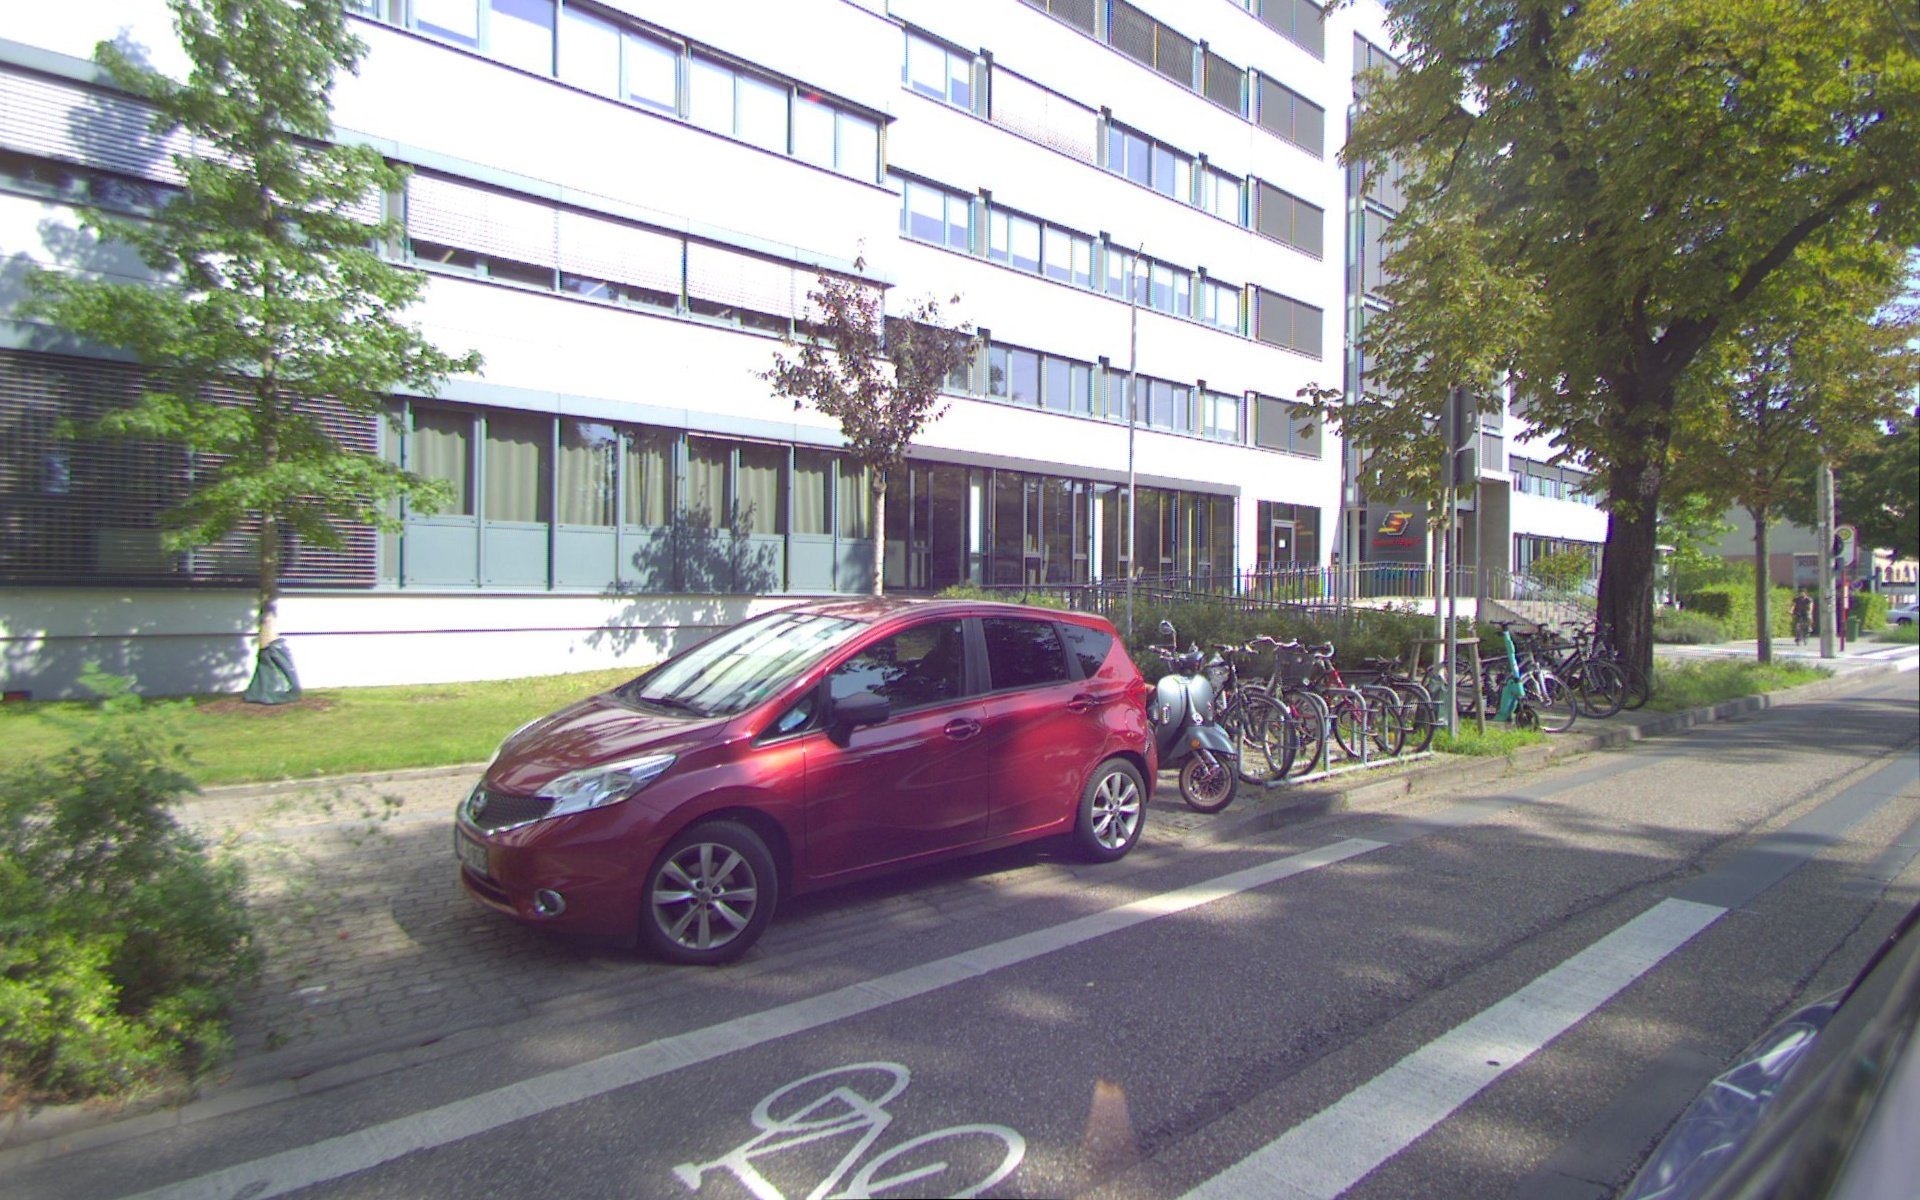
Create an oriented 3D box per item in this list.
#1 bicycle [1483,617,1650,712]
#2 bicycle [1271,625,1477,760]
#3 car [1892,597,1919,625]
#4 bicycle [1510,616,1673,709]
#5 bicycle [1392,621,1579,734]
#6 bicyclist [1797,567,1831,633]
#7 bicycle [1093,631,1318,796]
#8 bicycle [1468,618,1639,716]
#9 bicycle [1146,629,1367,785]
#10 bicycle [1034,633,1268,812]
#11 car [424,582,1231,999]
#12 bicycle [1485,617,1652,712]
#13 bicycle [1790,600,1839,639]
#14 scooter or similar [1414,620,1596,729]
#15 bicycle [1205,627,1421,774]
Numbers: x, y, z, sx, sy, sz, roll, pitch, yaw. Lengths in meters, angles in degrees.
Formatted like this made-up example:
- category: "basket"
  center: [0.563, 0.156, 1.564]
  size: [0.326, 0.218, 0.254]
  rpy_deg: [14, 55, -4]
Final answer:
- category: "bicycle"
  center: [7.873, 0.803, 13.203]
  size: [0.531, 1.085, 1.775]
  rpy_deg: [0, 1, -40]
- category: "bicycle"
  center: [3.913, 0.829, 9.694]
  size: [0.531, 1.085, 1.775]
  rpy_deg: [0, 1, -40]
- category: "car"
  center: [55.370, 0.631, 56.694]
  size: [1.929, 1.534, 4.542]
  rpy_deg: [0, 0, -44]
- category: "bicycle"
  center: [8.450, 0.800, 13.611]
  size: [0.531, 1.085, 1.775]
  rpy_deg: [0, 1, -40]
- category: "bicycle"
  center: [5.842, 0.817, 11.343]
  size: [0.531, 1.085, 1.775]
  rpy_deg: [0, 1, -40]
- category: "bicyclist"
  center: [26.731, -0.002, 31.690]
  size: [0.779, 2.039, 1.256]
  rpy_deg: [0, 0, 39]
- category: "bicycle"
  center: [1.916, 0.840, 8.123]
  size: [0.531, 1.085, 1.775]
  rpy_deg: [0, 1, -40]
- category: "bicycle"
  center: [7.464, 0.806, 12.805]
  size: [0.531, 1.085, 1.775]
  rpy_deg: [0, 1, -40]
- category: "bicycle"
  center: [2.441, 0.837, 8.527]
  size: [0.531, 1.085, 1.775]
  rpy_deg: [0, 1, -40]
- category: "bicycle"
  center: [1.372, 0.844, 7.586]
  size: [0.531, 1.085, 1.775]
  rpy_deg: [0, 1, -40]
- category: "car"
  center: [-0.478, 0.669, 5.665]
  size: [4.198, 1.480, 1.759]
  rpy_deg: [0, 1, -40]
- category: "bicycle"
  center: [7.896, 0.803, 13.209]
  size: [0.531, 1.085, 1.775]
  rpy_deg: [0, 1, -40]
- category: "bicycle"
  center: [26.791, 0.579, 31.768]
  size: [1.133, 1.139, 2.500]
  rpy_deg: [0, 0, 39]
- category: "scooter or similar"
  center: [6.272, 0.814, 11.729]
  size: [0.531, 1.085, 1.775]
  rpy_deg: [0, 1, -40]
- category: "bicycle"
  center: [3.083, 0.833, 8.999]
  size: [0.531, 1.085, 1.775]
  rpy_deg: [0, 1, -40]
